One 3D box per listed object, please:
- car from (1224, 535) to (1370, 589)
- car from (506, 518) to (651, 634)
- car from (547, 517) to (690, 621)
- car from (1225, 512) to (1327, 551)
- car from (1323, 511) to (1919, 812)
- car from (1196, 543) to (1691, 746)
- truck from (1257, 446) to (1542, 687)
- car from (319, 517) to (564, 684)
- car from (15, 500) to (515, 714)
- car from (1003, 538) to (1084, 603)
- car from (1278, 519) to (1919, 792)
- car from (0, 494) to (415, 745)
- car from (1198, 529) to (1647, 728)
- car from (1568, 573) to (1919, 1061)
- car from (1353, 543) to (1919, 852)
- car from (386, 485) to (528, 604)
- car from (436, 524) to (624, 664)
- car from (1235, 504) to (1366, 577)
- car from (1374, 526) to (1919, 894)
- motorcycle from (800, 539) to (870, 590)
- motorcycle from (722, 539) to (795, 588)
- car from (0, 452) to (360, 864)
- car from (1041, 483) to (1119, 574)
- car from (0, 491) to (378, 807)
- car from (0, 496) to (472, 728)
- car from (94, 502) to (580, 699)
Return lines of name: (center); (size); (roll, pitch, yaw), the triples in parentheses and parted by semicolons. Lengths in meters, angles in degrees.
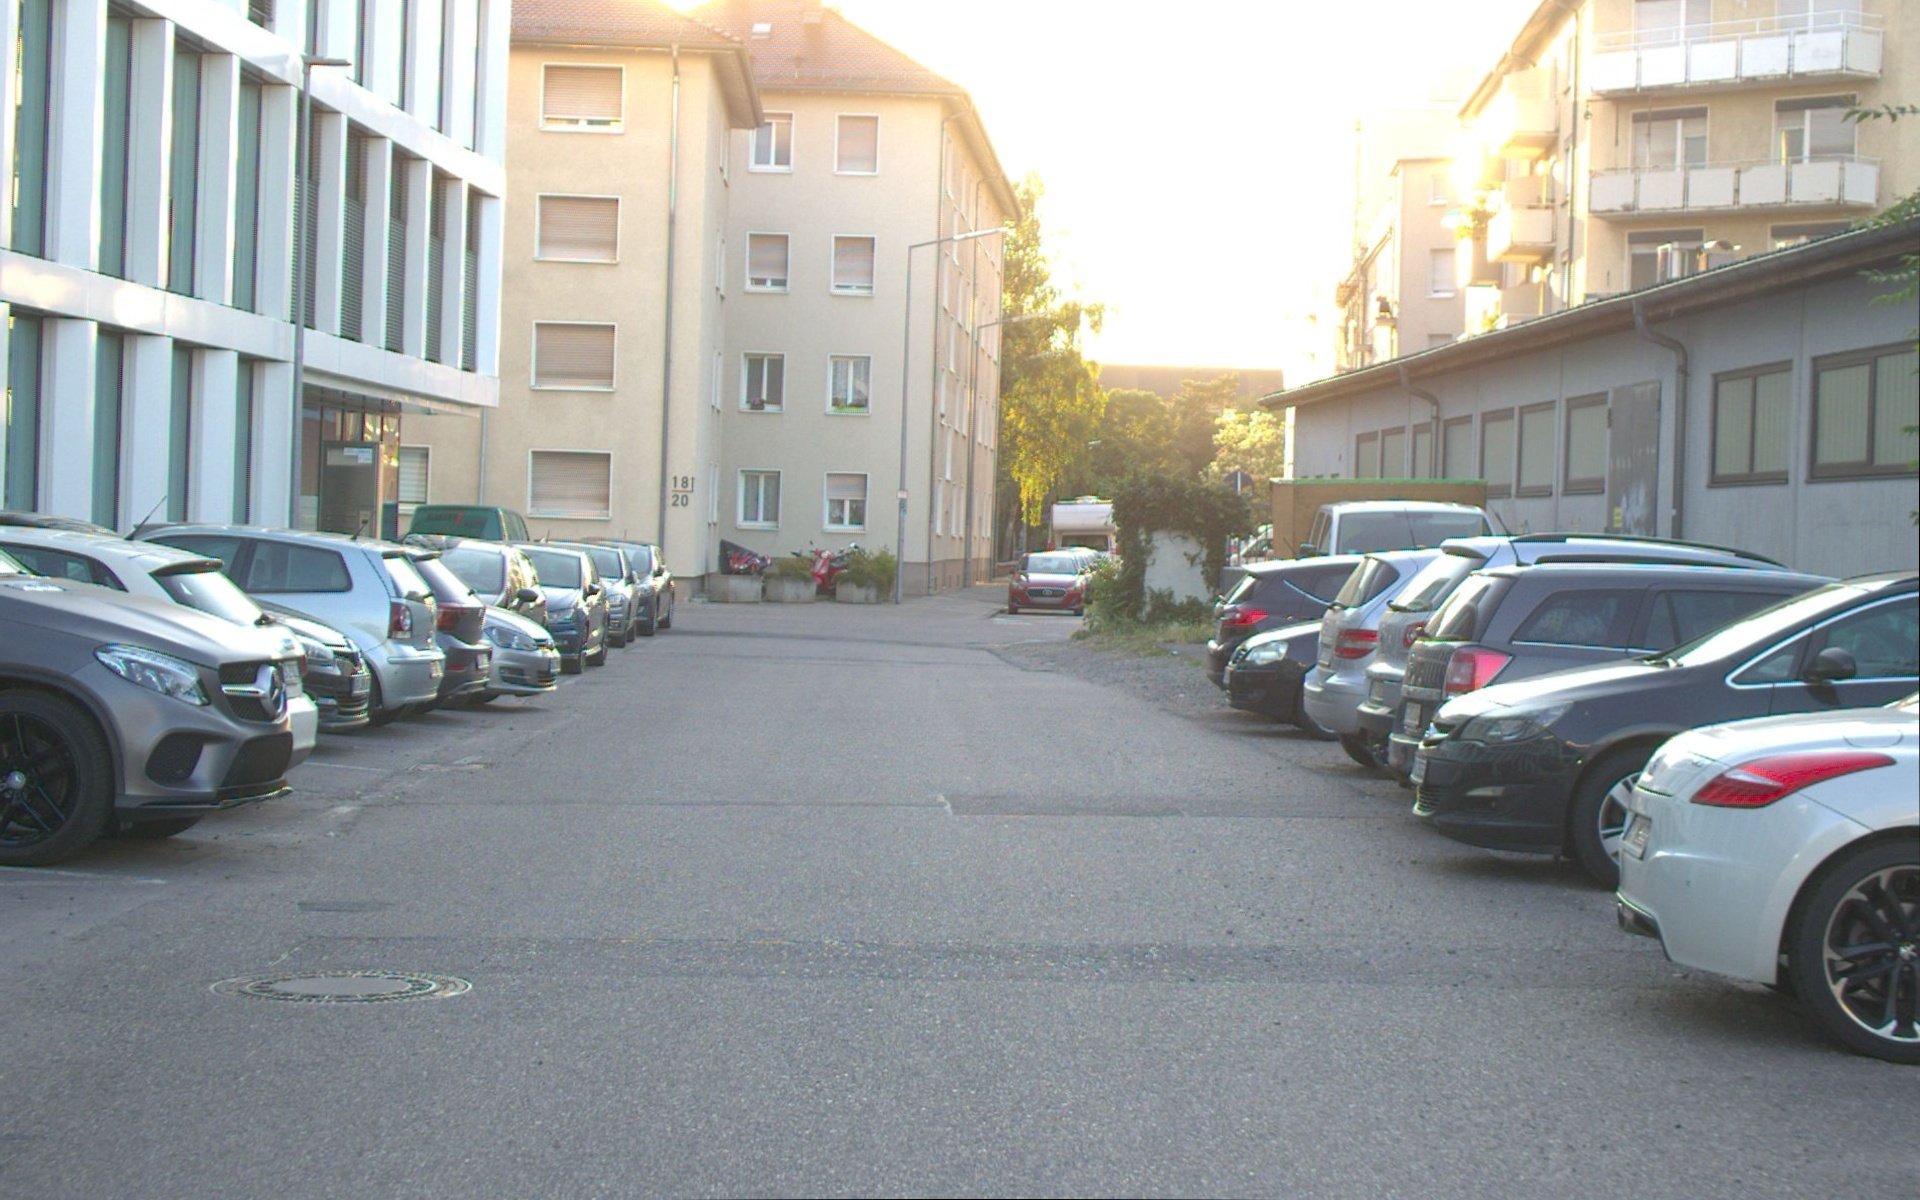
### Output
car: (10.260, -1.156, 104.896); (4.324, 1.632, 1.818); (0, 0, 3)
car: (-5.531, -0.389, 50.225); (1.710, 1.474, 4.185); (5, 1, -3)
car: (-5.559, -0.527, 56.355); (1.779, 1.474, 4.331); (5, 1, 0)
car: (12.632, -2.744, 137.462); (3.987, 1.525, 1.659); (1, 1, 3)
car: (4.403, 0.367, 21.216); (3.983, 1.613, 1.827); (3, 1, -3)
car: (3.953, 0.353, 28.571); (3.759, 1.439, 1.845); (3, 0, -1)
truck: (4.375, -0.364, 35.161); (2.098, 2.193, 5.711); (2, 1, 0)
car: (-5.184, -0.035, 34.848); (1.648, 1.434, 4.202); (5, 1, 1)
car: (-5.643, 0.033, 28.178); (3.655, 1.506, 1.687); (3, 2, 3)
car: (2.012, -0.726, 82.219); (1.845, 1.468, 4.078); (2, 1, 2)
car: (4.327, 0.350, 23.729); (3.983, 1.604, 1.939); (3, 1, -1)
car: (-5.937, 0.071, 23.627); (3.965, 1.506, 1.796); (3, 2, 3)
car: (4.103, 0.228, 31.004); (3.759, 1.530, 1.891); (3, 2, 2)
car: (4.172, 0.714, 10.851); (4.203, 1.362, 1.823); (3, 1, 4)
car: (4.230, 0.529, 18.449); (3.984, 1.440, 1.827); (3, 0, 1)
car: (-8.878, -1.017, 61.004); (1.798, 1.973, 4.690); (2, 2, 0)
car: (-5.047, -0.114, 40.809); (1.648, 1.434, 4.185); (5, 1, -1)
car: (12.786, -2.227, 128.925); (4.818, 2.708, 2.135); (0, 1, 7)
car: (4.146, 0.528, 15.934); (4.203, 1.498, 1.890); (3, 0, 2)
motorcycle: (-2.913, -0.824, 80.375); (0.689, 1.156, 2.031); (3, 1, 28)
motorcycle: (-4.560, -0.825, 77.938); (0.724, 1.075, 2.078); (3, 1, 24)
car: (-5.323, 0.122, 15.798); (4.620, 1.700, 2.004); (3, 2, 6)
car: (4.500, -2.624, 127.637); (2.620, 3.258, 7.696); (0, 1, 4)
car: (-5.174, 0.179, 18.431); (3.667, 1.506, 1.696); (3, 2, 6)
car: (-5.696, 0.063, 25.986); (3.655, 1.506, 1.687); (3, 2, 3)
car: (-5.521, -0.018, 30.724); (3.927, 1.506, 1.687); (3, 2, 3)
